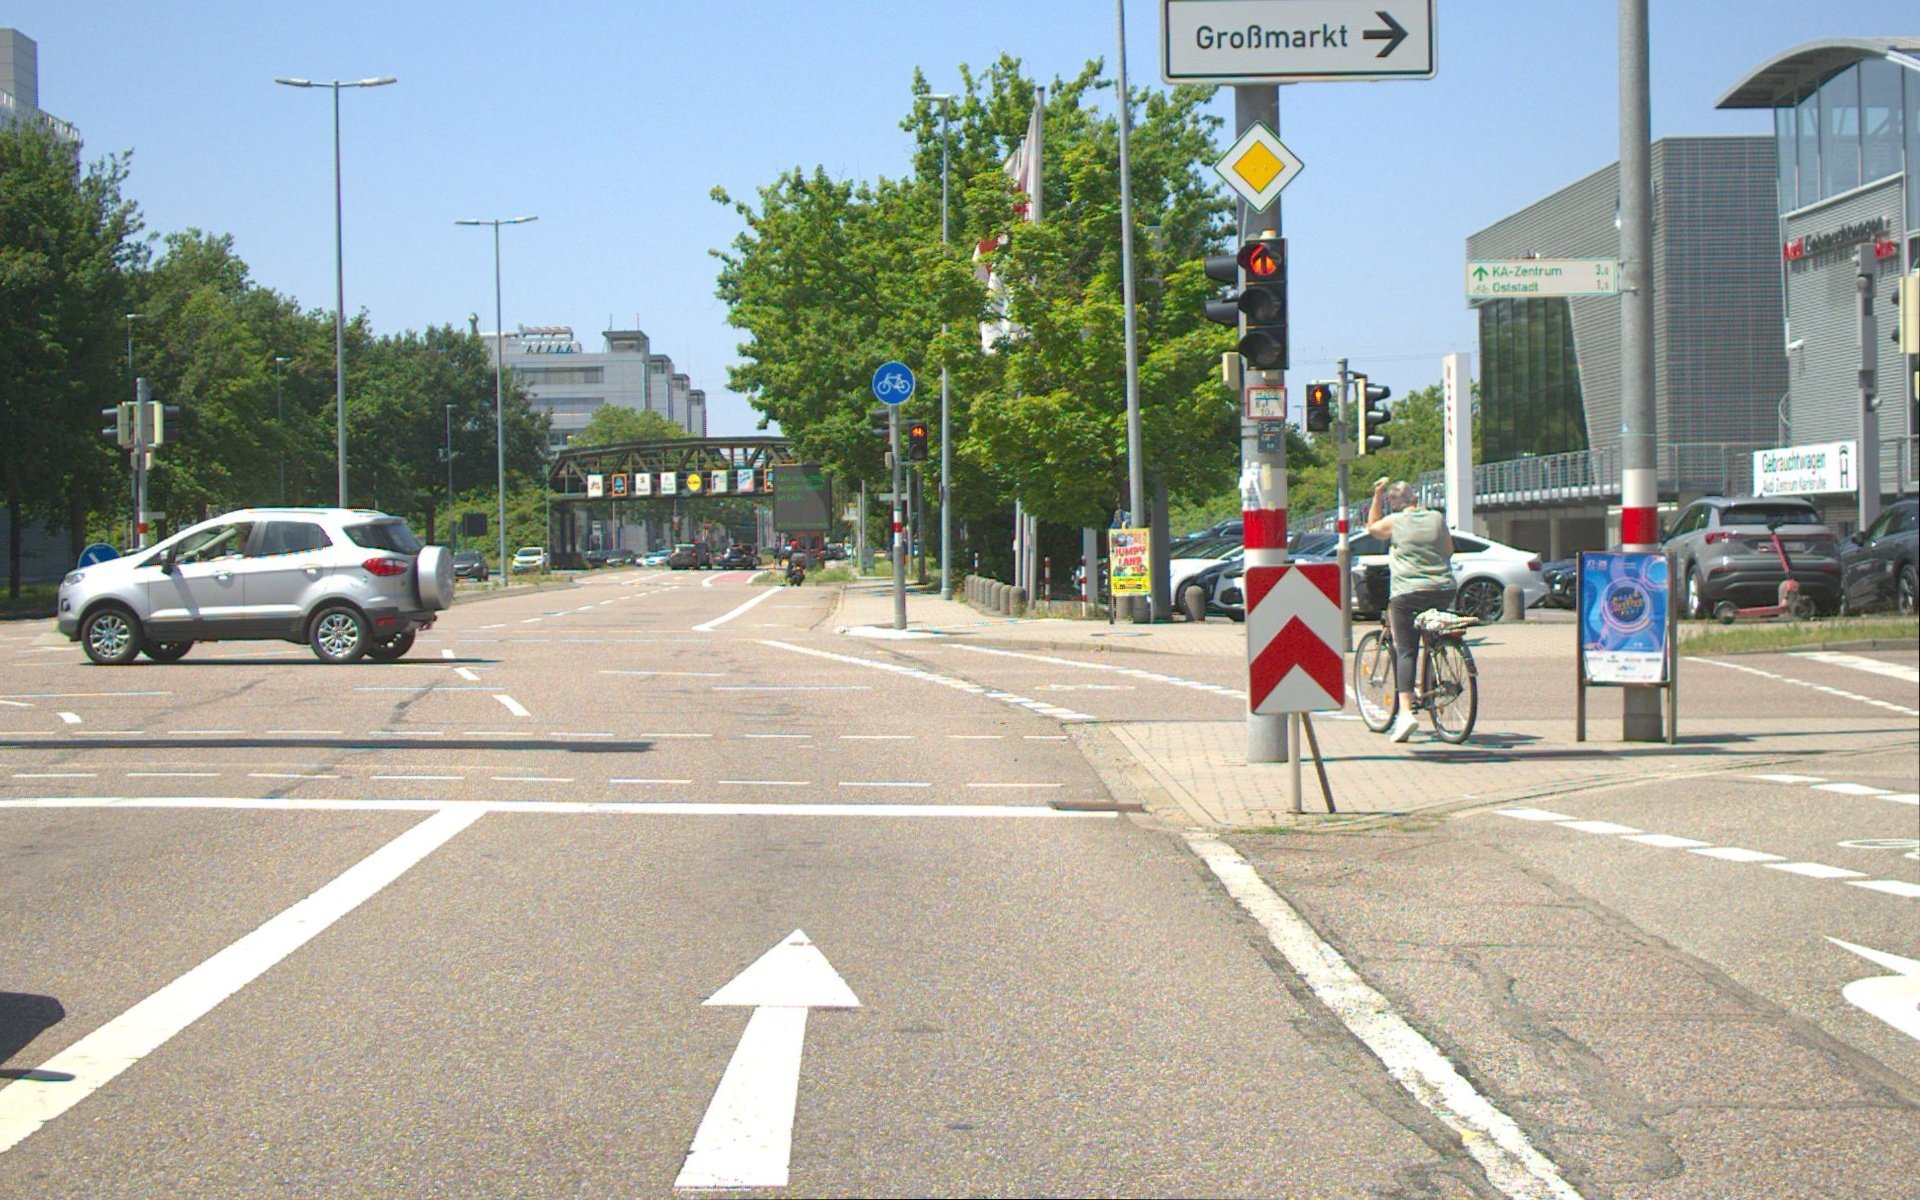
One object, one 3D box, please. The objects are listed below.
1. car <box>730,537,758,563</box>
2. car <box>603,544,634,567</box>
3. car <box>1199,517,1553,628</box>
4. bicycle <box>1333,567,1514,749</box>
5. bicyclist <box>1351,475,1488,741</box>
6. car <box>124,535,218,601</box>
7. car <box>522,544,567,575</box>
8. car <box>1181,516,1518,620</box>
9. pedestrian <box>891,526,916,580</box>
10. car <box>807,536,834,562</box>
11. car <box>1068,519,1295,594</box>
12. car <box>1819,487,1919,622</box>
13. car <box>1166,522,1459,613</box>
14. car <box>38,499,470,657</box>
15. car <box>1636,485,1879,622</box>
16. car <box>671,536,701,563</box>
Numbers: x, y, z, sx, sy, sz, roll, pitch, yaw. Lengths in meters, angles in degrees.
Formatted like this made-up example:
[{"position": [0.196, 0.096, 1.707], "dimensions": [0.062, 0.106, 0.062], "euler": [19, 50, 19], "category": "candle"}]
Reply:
[{"position": [-14.785, -3.420, 235.123], "dimensions": [1.772, 1.722, 4.000], "euler": [-1, 1, -2], "category": "car"}, {"position": [-22.767, -2.977, 229.480], "dimensions": [1.732, 1.422, 3.706], "euler": [-3, 1, -2], "category": "car"}, {"position": [5.808, -0.408, 48.410], "dimensions": [4.741, 1.452, 2.000], "euler": [-1, 2, 1], "category": "car"}, {"position": [3.086, 0.365, 23.071], "dimensions": [0.786, 1.123, 1.921], "euler": [0, 2, -5], "category": "bicycle"}, {"position": [3.066, 0.044, 22.983], "dimensions": [0.733, 1.743, 0.754], "euler": [0, 2, -6], "category": "bicyclist"}, {"position": [-25.084, -1.041, 109.428], "dimensions": [1.993, 2.001, 4.765], "euler": [-1, 1, -2], "category": "car"}, {"position": [-23.562, -2.305, 194.964], "dimensions": [1.926, 1.659, 4.089], "euler": [-1, 1, 1], "category": "car"}, {"position": [5.710, -0.468, 50.810], "dimensions": [4.741, 1.452, 2.000], "euler": [-1, 0, 1], "category": "car"}, {"position": [-1.604, -1.327, 97.339], "dimensions": [0.668, 1.505, 0.736], "euler": [-1, 1, -2], "category": "pedestrian"}, {"position": [-9.499, -3.477, 235.008], "dimensions": [1.772, 1.722, 4.000], "euler": [-1, 1, -2], "category": "car"}, {"position": [4.856, -0.968, 75.722], "dimensions": [4.741, 1.452, 2.000], "euler": [-2, 2, -3], "category": "car"}, {"position": [12.736, -0.638, 44.424], "dimensions": [1.993, 1.634, 4.558], "euler": [-1, 2, -2], "category": "car"}, {"position": [6.029, -0.567, 59.191], "dimensions": [4.741, 1.452, 2.000], "euler": [-1, 2, -3], "category": "car"}, {"position": [-7.540, -0.245, 36.901], "dimensions": [4.197, 1.646, 1.714], "euler": [0, 1, 9], "category": "car"}, {"position": [10.150, -0.637, 44.094], "dimensions": [1.993, 1.634, 4.269], "euler": [-1, 2, -2], "category": "car"}, {"position": [-18.085, -3.339, 227.174], "dimensions": [1.772, 1.722, 4.000], "euler": [-1, 1, -2], "category": "car"}]
